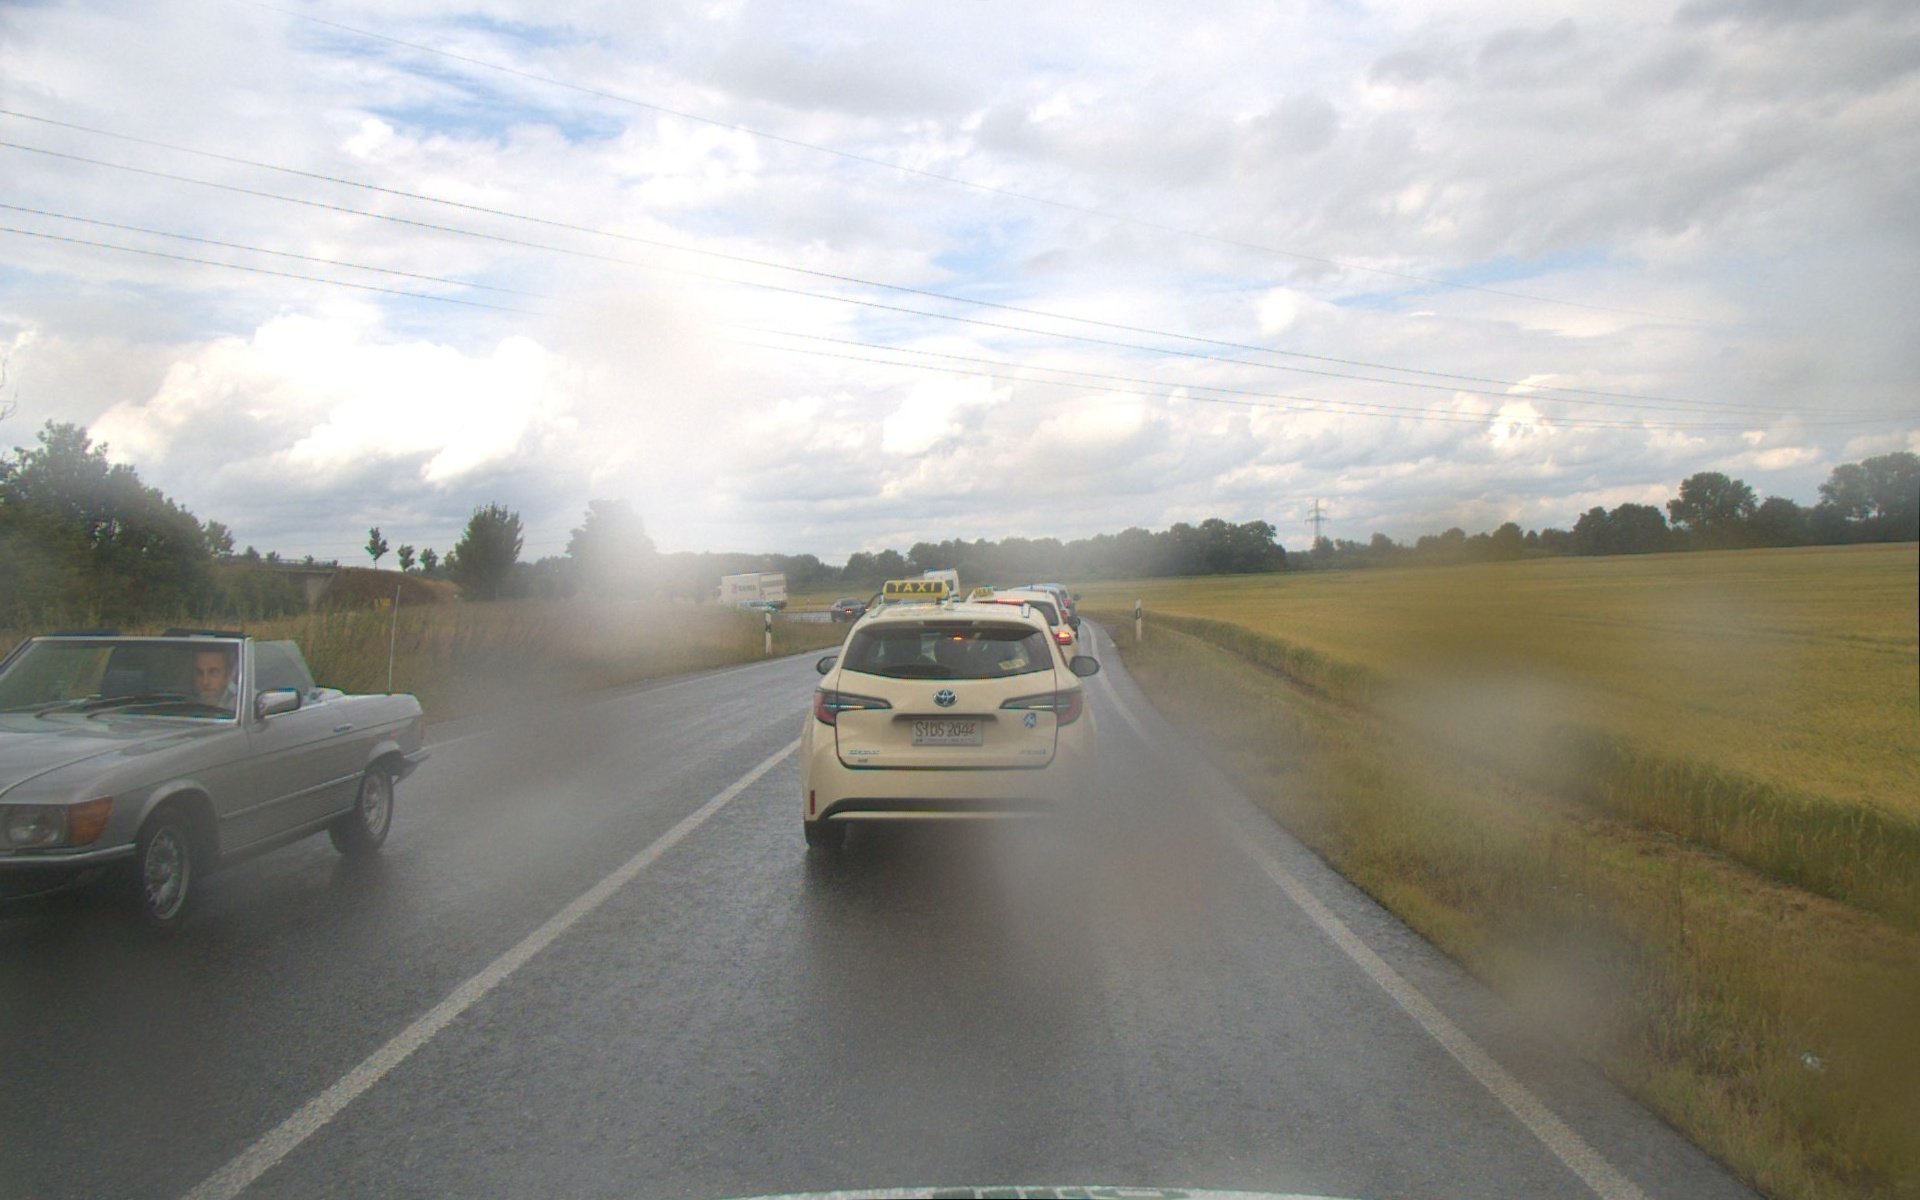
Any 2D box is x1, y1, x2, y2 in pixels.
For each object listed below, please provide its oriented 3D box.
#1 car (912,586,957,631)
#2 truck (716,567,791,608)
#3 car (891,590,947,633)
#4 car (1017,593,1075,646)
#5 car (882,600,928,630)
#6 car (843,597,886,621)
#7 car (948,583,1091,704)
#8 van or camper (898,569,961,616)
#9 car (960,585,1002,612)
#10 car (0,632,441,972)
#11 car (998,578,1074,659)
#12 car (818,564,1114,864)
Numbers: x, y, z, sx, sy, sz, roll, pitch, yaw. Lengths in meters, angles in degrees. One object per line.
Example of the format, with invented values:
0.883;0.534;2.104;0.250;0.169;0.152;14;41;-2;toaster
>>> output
-1.077;0.368;72.352;1.806;1.888;4.447;0;0;1;car
-17.542;-0.982;140.088;2.987;3.266;8.134;1;-1;-34;truck
-1.389;0.393;57.193;1.806;1.412;4.287;0;0;0;car
2.440;0.561;46.917;1.579;1.438;3.739;0;-1;3;car
-3.194;0.839;95.001;1.816;1.660;4.520;-1;0;-12;car
-6.290;0.621;108.522;1.820;1.473;4.070;-2;0;-17;car
0.833;0.547;23.218;1.803;1.518;4.609;0;0;2;car
-2.032;-0.470;108.197;2.495;2.946;6.713;0;0;-16;van or camper
1.160;-0.076;91.639;1.750;1.438;3.730;1;-1;-9;car
-4.101;0.817;8.359;1.684;1.273;4.000;0;-1;0;car
1.641;0.425;36.452;1.579;1.688;3.739;0;-1;1;car
0.152;0.641;10.733;1.579;1.590;3.740;0;-1;4;car
